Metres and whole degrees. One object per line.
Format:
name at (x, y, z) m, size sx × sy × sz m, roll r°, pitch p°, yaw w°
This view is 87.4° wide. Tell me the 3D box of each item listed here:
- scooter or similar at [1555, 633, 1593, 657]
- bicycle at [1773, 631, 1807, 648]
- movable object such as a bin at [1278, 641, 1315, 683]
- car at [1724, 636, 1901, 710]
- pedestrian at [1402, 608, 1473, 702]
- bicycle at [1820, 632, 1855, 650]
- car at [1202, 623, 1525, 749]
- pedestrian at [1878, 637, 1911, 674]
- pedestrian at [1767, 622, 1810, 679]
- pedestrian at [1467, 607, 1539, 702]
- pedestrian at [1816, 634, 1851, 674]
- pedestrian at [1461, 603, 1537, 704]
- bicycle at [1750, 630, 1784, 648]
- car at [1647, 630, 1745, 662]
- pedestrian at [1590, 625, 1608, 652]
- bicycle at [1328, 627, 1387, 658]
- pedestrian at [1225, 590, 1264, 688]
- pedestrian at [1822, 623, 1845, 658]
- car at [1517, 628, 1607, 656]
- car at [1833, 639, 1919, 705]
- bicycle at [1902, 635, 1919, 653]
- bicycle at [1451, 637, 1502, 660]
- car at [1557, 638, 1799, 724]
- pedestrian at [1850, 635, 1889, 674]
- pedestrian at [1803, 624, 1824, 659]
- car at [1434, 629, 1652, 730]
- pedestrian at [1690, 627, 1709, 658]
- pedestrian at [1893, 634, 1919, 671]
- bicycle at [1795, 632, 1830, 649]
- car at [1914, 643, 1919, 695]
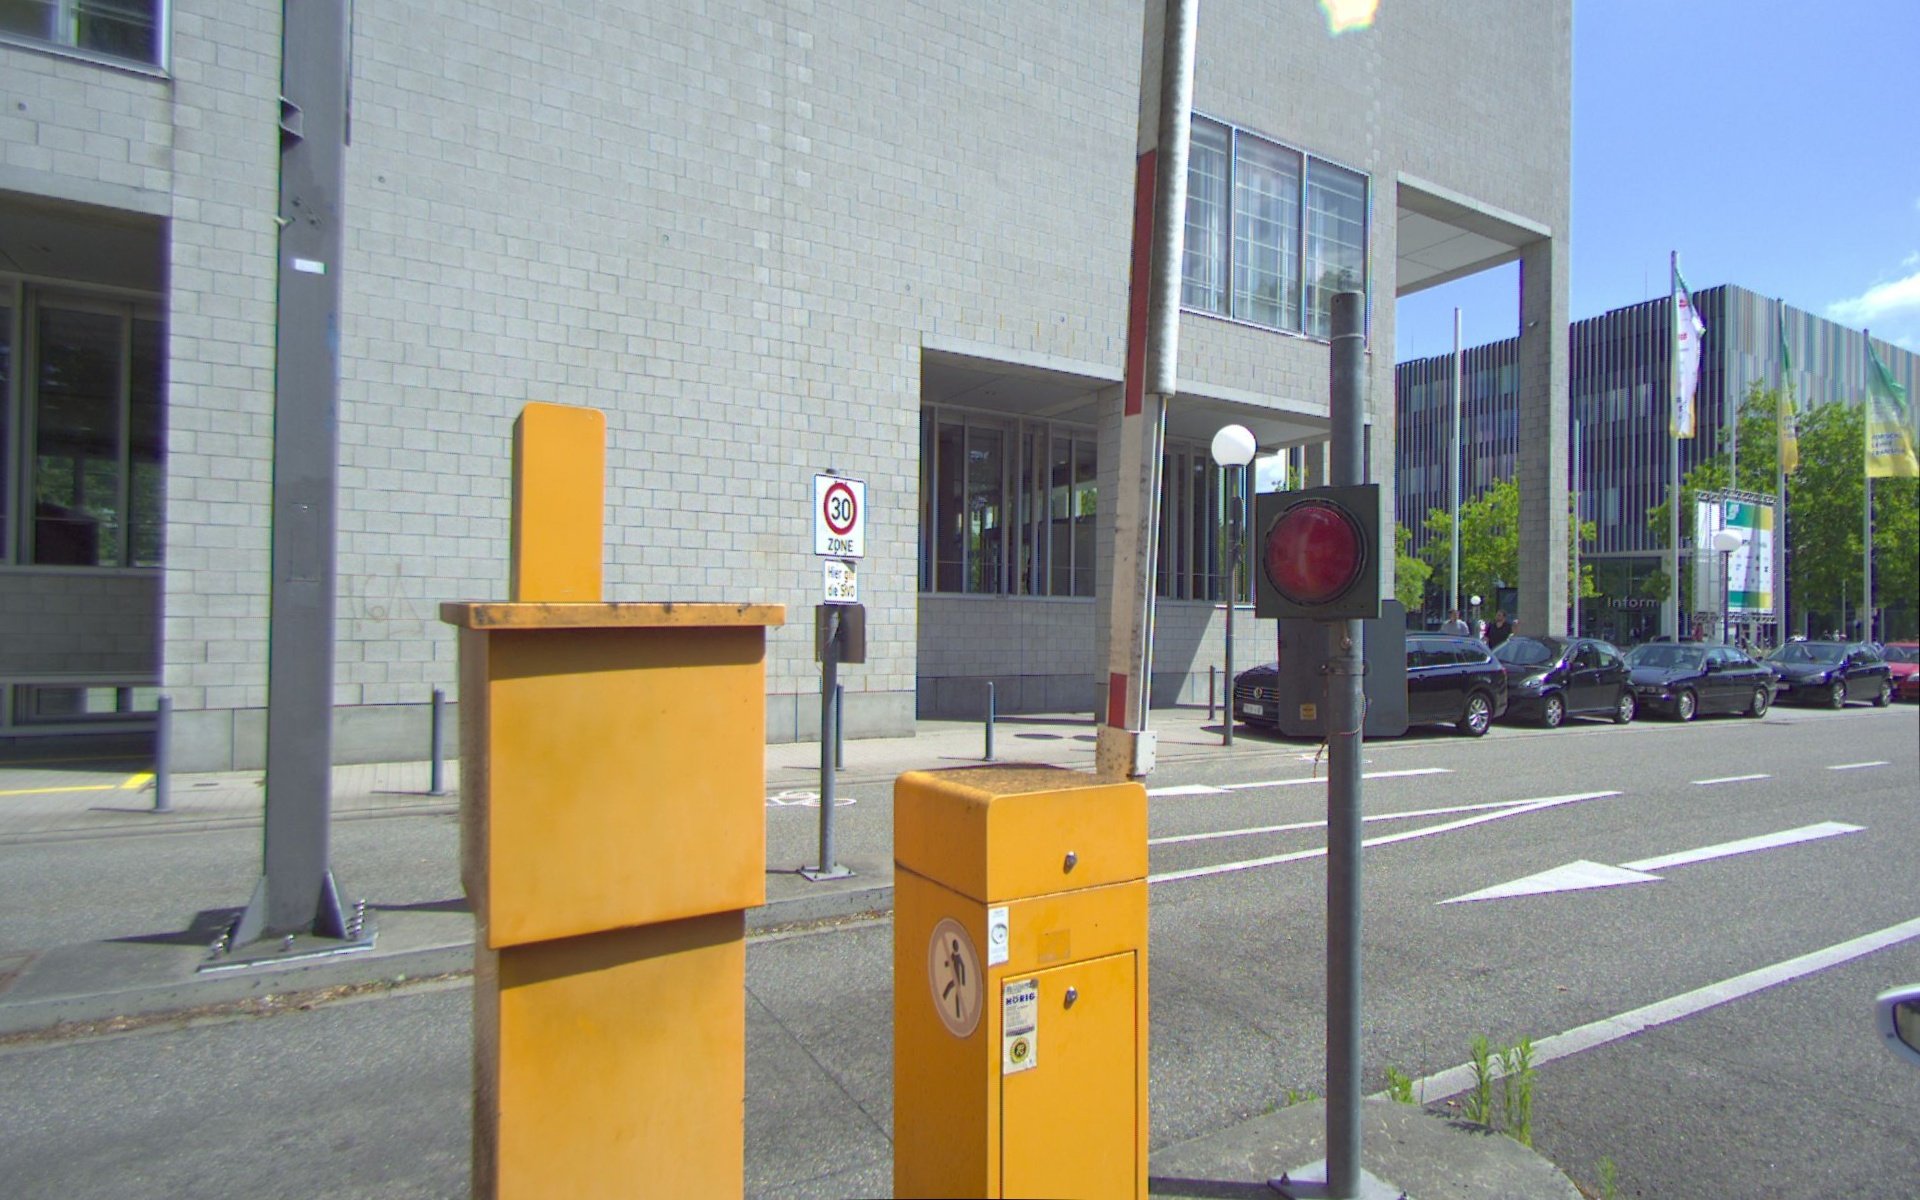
scooter or similar at (31.864, 2.313, 52.152) m, size 0.486 × 1.212 × 1.724 m, roll 1°, pitch -1°, yaw -24°
bicycle at (62.417, 2.961, 75.559) m, size 1.178 × 1.253 × 2.949 m, roll 1°, pitch -1°, yaw 24°
movable object such as a bin at (7.844, 1.444, 23.421) m, size 0.588 × 0.942 × 0.573 m, roll 2°, pitch -1°, yaw -30°
car at (19.822, 1.643, 23.325) m, size 4.145 × 1.487 × 1.740 m, roll 2°, pitch 1°, yaw -29°
pedestrian at (10.640, 1.208, 22.405) m, size 1.153 × 2.040 × 0.978 m, roll 2°, pitch -1°, yaw -34°
bicycle at (65.086, 3.065, 74.527) m, size 1.178 × 1.253 × 2.949 m, roll 1°, pitch -1°, yaw 25°
car at (5.893, 1.151, 14.514) m, size 4.664 × 1.487 × 1.850 m, roll 2°, pitch 1°, yaw -31°
pedestrian at (43.676, 2.592, 46.951) m, size 0.847 × 1.676 × 0.826 m, roll 0°, pitch -1°, yaw -15°
pedestrian at (28.061, 1.703, 34.011) m, size 1.074 × 1.875 × 0.717 m, roll 1°, pitch 0°, yaw -27°
pedestrian at (12.075, 1.196, 22.348) m, size 1.153 × 2.040 × 0.978 m, roll 2°, pitch -1°, yaw -34°
pedestrian at (42.684, 2.641, 49.106) m, size 0.988 × 1.901 × 0.854 m, roll 1°, pitch -1°, yaw -7°
pedestrian at (11.325, 1.101, 21.105) m, size 1.153 × 2.040 × 0.978 m, roll 2°, pitch -1°, yaw -34°
bicycle at (61.171, 2.937, 76.160) m, size 1.352 × 1.253 × 2.949 m, roll 1°, pitch -1°, yaw 25°
car at (42.223, 2.601, 57.729) m, size 1.632 × 1.683 × 4.264 m, roll 1°, pitch -1°, yaw -28°
pedestrian at (56.790, 3.411, 89.276) m, size 1.003 × 2.377 × 0.968 m, roll 2°, pitch -1°, yaw -30°
bicycle at (19.752, 2.109, 49.853) m, size 2.911 × 1.430 × 1.011 m, roll 2°, pitch -1°, yaw -25°
pedestrian at (7.330, 0.989, 25.850) m, size 0.747 × 2.454 × 0.736 m, roll 0°, pitch -1°, yaw 34°
pedestrian at (66.676, 3.092, 76.714) m, size 0.956 × 2.599 × 1.015 m, roll 1°, pitch 0°, yaw 18°
car at (38.488, 2.678, 64.336) m, size 1.632 × 1.683 × 4.790 m, roll 1°, pitch -2°, yaw -28°
car at (24.437, 1.811, 25.917) m, size 3.864 × 1.487 × 1.669 m, roll 2°, pitch 1°, yaw -30°
bicycle at (70.135, 3.217, 73.217) m, size 1.178 × 1.253 × 2.950 m, roll 1°, pitch -1°, yaw 23°
bicycle at (28.830, 2.702, 56.124) m, size 0.657 × 1.128 × 2.595 m, roll 2°, pitch -1°, yaw -31°
car at (14.007, 1.505, 19.532) m, size 4.954 × 1.396 × 1.851 m, roll 2°, pitch 1°, yaw -29°
pedestrian at (43.386, 2.606, 47.921) m, size 1.075 × 1.843 × 0.863 m, roll 1°, pitch -1°, yaw -7°
pedestrian at (65.284, 3.184, 76.828) m, size 0.957 × 2.599 × 1.014 m, roll 1°, pitch -1°, yaw 24°
car at (10.021, 1.305, 17.220) m, size 3.664 × 1.487 × 1.630 m, roll 2°, pitch 1°, yaw -31°
pedestrian at (62.784, 3.570, 85.283) m, size 1.003 × 2.599 × 0.968 m, roll 2°, pitch -1°, yaw -30°
pedestrian at (42.087, 2.320, 44.602) m, size 0.788 × 1.619 × 0.767 m, roll 1°, pitch -1°, yaw -28°
bicycle at (63.808, 3.019, 75.206) m, size 1.178 × 1.253 × 2.949 m, roll 1°, pitch -1°, yaw 24°
car at (28.858, 1.989, 28.254) m, size 4.606 × 1.414 × 1.669 m, roll 2°, pitch 1°, yaw -30°
